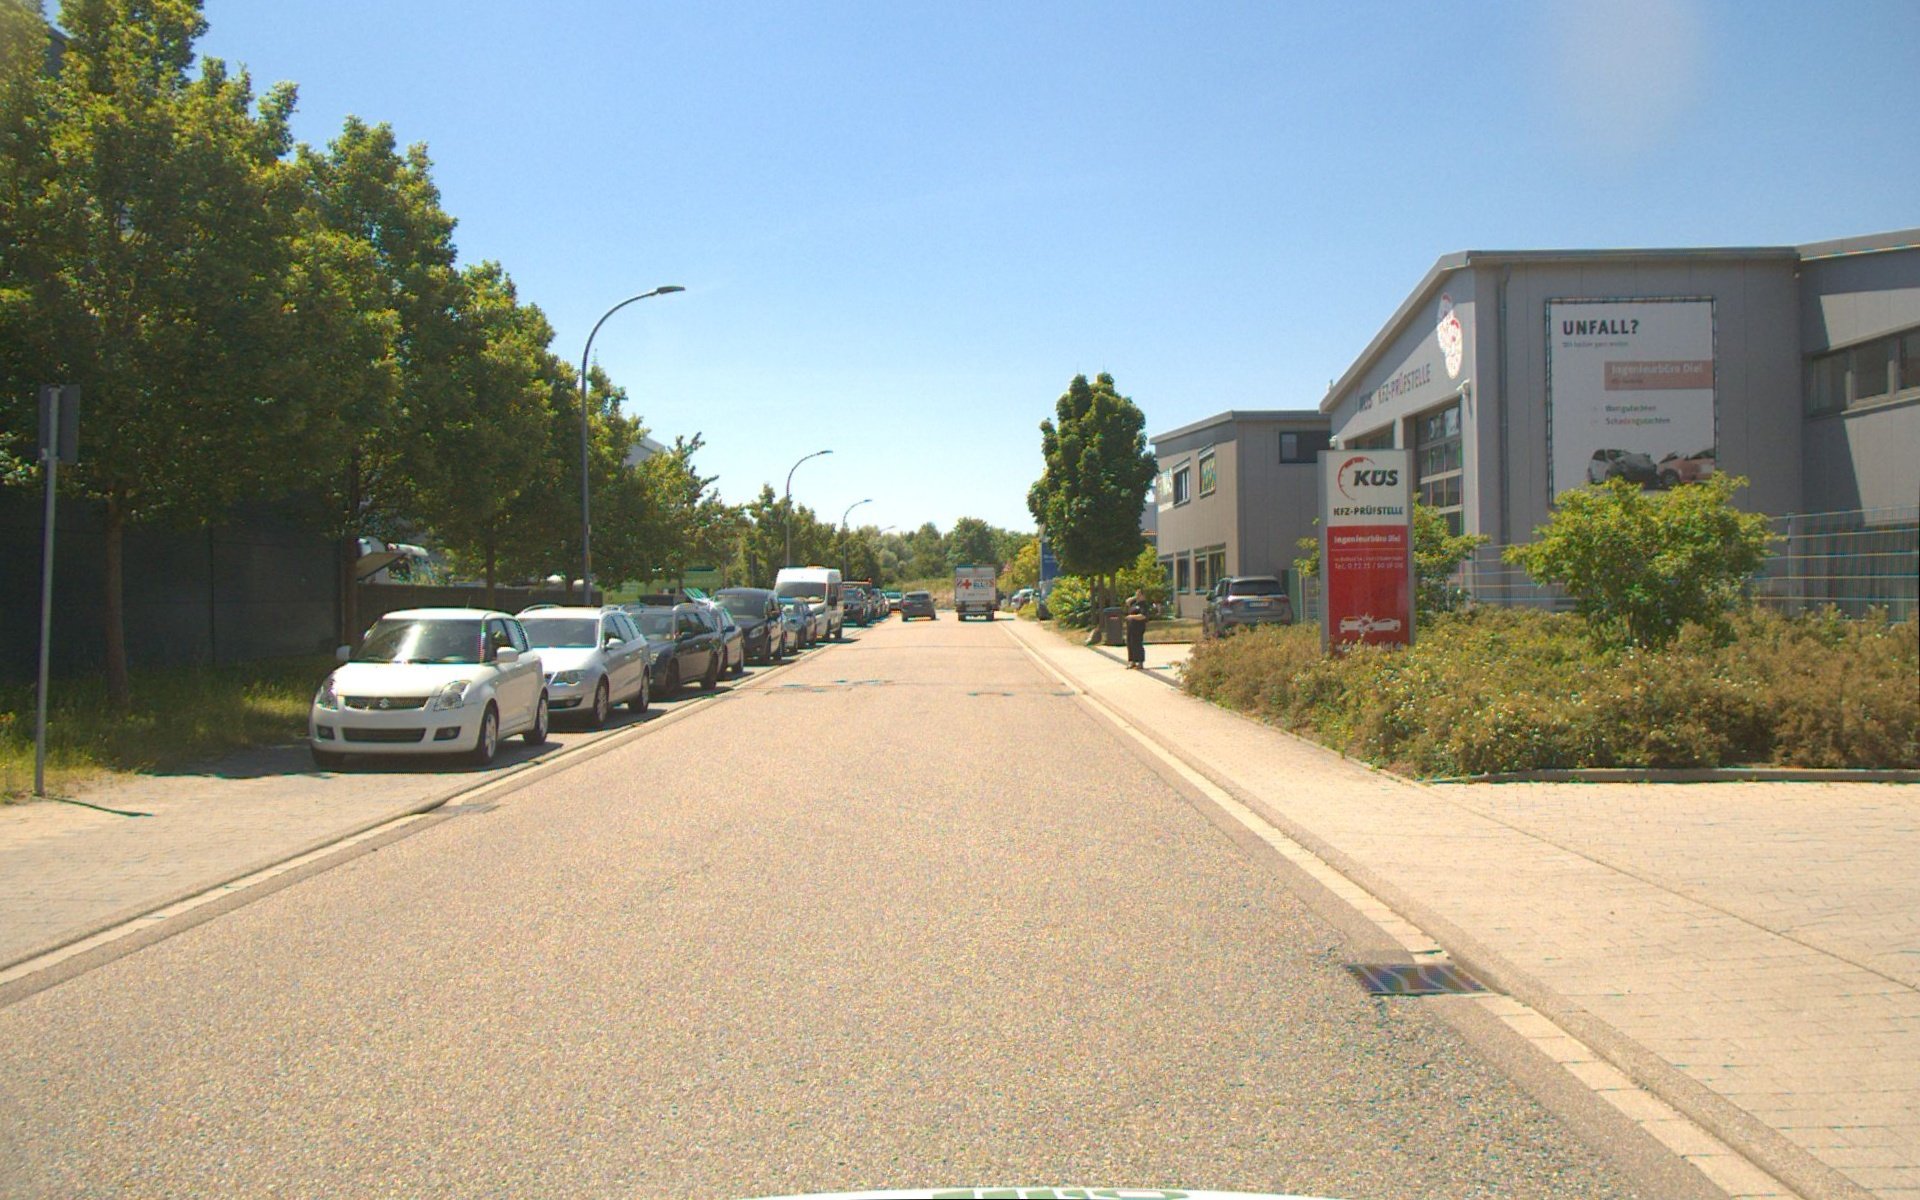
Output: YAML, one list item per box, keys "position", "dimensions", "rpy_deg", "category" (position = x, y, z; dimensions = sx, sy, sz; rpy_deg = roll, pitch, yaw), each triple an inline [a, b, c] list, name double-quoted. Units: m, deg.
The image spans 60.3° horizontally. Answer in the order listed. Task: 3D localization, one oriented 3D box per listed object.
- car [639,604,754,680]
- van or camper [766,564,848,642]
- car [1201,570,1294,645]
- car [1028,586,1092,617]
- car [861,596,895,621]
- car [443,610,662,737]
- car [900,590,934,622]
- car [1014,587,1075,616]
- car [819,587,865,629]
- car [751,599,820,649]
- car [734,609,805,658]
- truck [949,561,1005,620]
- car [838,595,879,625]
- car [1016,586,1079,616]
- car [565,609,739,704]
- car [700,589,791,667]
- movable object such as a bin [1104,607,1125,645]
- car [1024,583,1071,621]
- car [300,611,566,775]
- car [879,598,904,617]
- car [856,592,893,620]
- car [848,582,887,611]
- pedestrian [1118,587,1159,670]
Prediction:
- position: [-5.509, 0.846, 35.113]
  dimensions: [1.762, 1.502, 4.587]
  rpy_deg: [0, 0, -1]
  category: "car"
- position: [-5.286, 0.115, 57.975]
  dimensions: [2.035, 2.526, 6.132]
  rpy_deg: [1, 0, 2]
  category: "van or camper"
- position: [7.561, 0.226, 43.887]
  dimensions: [1.748, 1.814, 4.906]
  rpy_deg: [-2, -1, 2]
  category: "car"
- position: [6.186, 0.086, 102.389]
  dimensions: [3.798, 1.780, 1.751]
  rpy_deg: [1, 0, -3]
  category: "car"
- position: [-5.004, 0.505, 101.052]
  dimensions: [1.762, 1.513, 4.253]
  rpy_deg: [0, 0, 1]
  category: "car"
- position: [-5.300, 0.890, 22.126]
  dimensions: [1.762, 1.502, 4.554]
  rpy_deg: [0, 0, 0]
  category: "car"
- position: [-2.332, 0.317, 90.367]
  dimensions: [1.753, 1.652, 3.808]
  rpy_deg: [1, 0, 0]
  category: "car"
- position: [5.484, 0.086, 107.679]
  dimensions: [3.798, 1.780, 1.751]
  rpy_deg: [1, 0, -3]
  category: "car"
- position: [-5.517, 0.347, 77.957]
  dimensions: [1.762, 1.881, 4.253]
  rpy_deg: [0, 0, 1]
  category: "car"
- position: [-5.379, 0.727, 51.480]
  dimensions: [1.762, 1.475, 4.251]
  rpy_deg: [0, 0, -1]
  category: "car"
- position: [-5.335, 0.915, 46.724]
  dimensions: [1.447, 1.320, 3.900]
  rpy_deg: [0, 0, 2]
  category: "car"
- position: [0.910, -0.483, 89.528]
  dimensions: [2.873, 3.026, 6.419]
  rpy_deg: [1, 0, 0]
  category: "truck"
- position: [-5.253, 0.508, 85.870]
  dimensions: [1.762, 1.513, 4.253]
  rpy_deg: [0, 0, 1]
  category: "car"
- position: [5.541, 0.078, 104.720]
  dimensions: [3.798, 1.780, 1.751]
  rpy_deg: [1, 0, -3]
  category: "car"
- position: [-5.203, 0.909, 28.571]
  dimensions: [1.761, 1.502, 4.640]
  rpy_deg: [0, 0, 5]
  category: "car"
- position: [-5.265, 0.660, 41.007]
  dimensions: [1.762, 1.846, 4.251]
  rpy_deg: [0, 0, -1]
  category: "car"
- position: [4.339, 0.727, 46.421]
  dimensions: [0.520, 1.071, 0.845]
  rpy_deg: [-1, 0, 2]
  category: "movable object such as a bin"
- position: [4.399, 0.114, 83.744]
  dimensions: [1.953, 1.835, 4.138]
  rpy_deg: [-1, 0, -2]
  category: "car"
- position: [-5.355, 0.873, 17.295]
  dimensions: [1.686, 1.502, 3.855]
  rpy_deg: [0, 0, -2]
  category: "car"
- position: [-5.630, 0.603, 135.515]
  dimensions: [1.762, 1.513, 4.253]
  rpy_deg: [0, 0, 1]
  category: "car"
- position: [-4.902, 0.328, 95.213]
  dimensions: [1.762, 1.513, 4.253]
  rpy_deg: [0, 0, 1]
  category: "car"
- position: [-5.040, -0.211, 90.501]
  dimensions: [1.762, 1.513, 4.253]
  rpy_deg: [0, 0, 1]
  category: "car"
- position: [3.662, 0.583, 33.939]
  dimensions: [0.492, 1.641, 0.710]
  rpy_deg: [-4, 0, -17]
  category: "pedestrian"
